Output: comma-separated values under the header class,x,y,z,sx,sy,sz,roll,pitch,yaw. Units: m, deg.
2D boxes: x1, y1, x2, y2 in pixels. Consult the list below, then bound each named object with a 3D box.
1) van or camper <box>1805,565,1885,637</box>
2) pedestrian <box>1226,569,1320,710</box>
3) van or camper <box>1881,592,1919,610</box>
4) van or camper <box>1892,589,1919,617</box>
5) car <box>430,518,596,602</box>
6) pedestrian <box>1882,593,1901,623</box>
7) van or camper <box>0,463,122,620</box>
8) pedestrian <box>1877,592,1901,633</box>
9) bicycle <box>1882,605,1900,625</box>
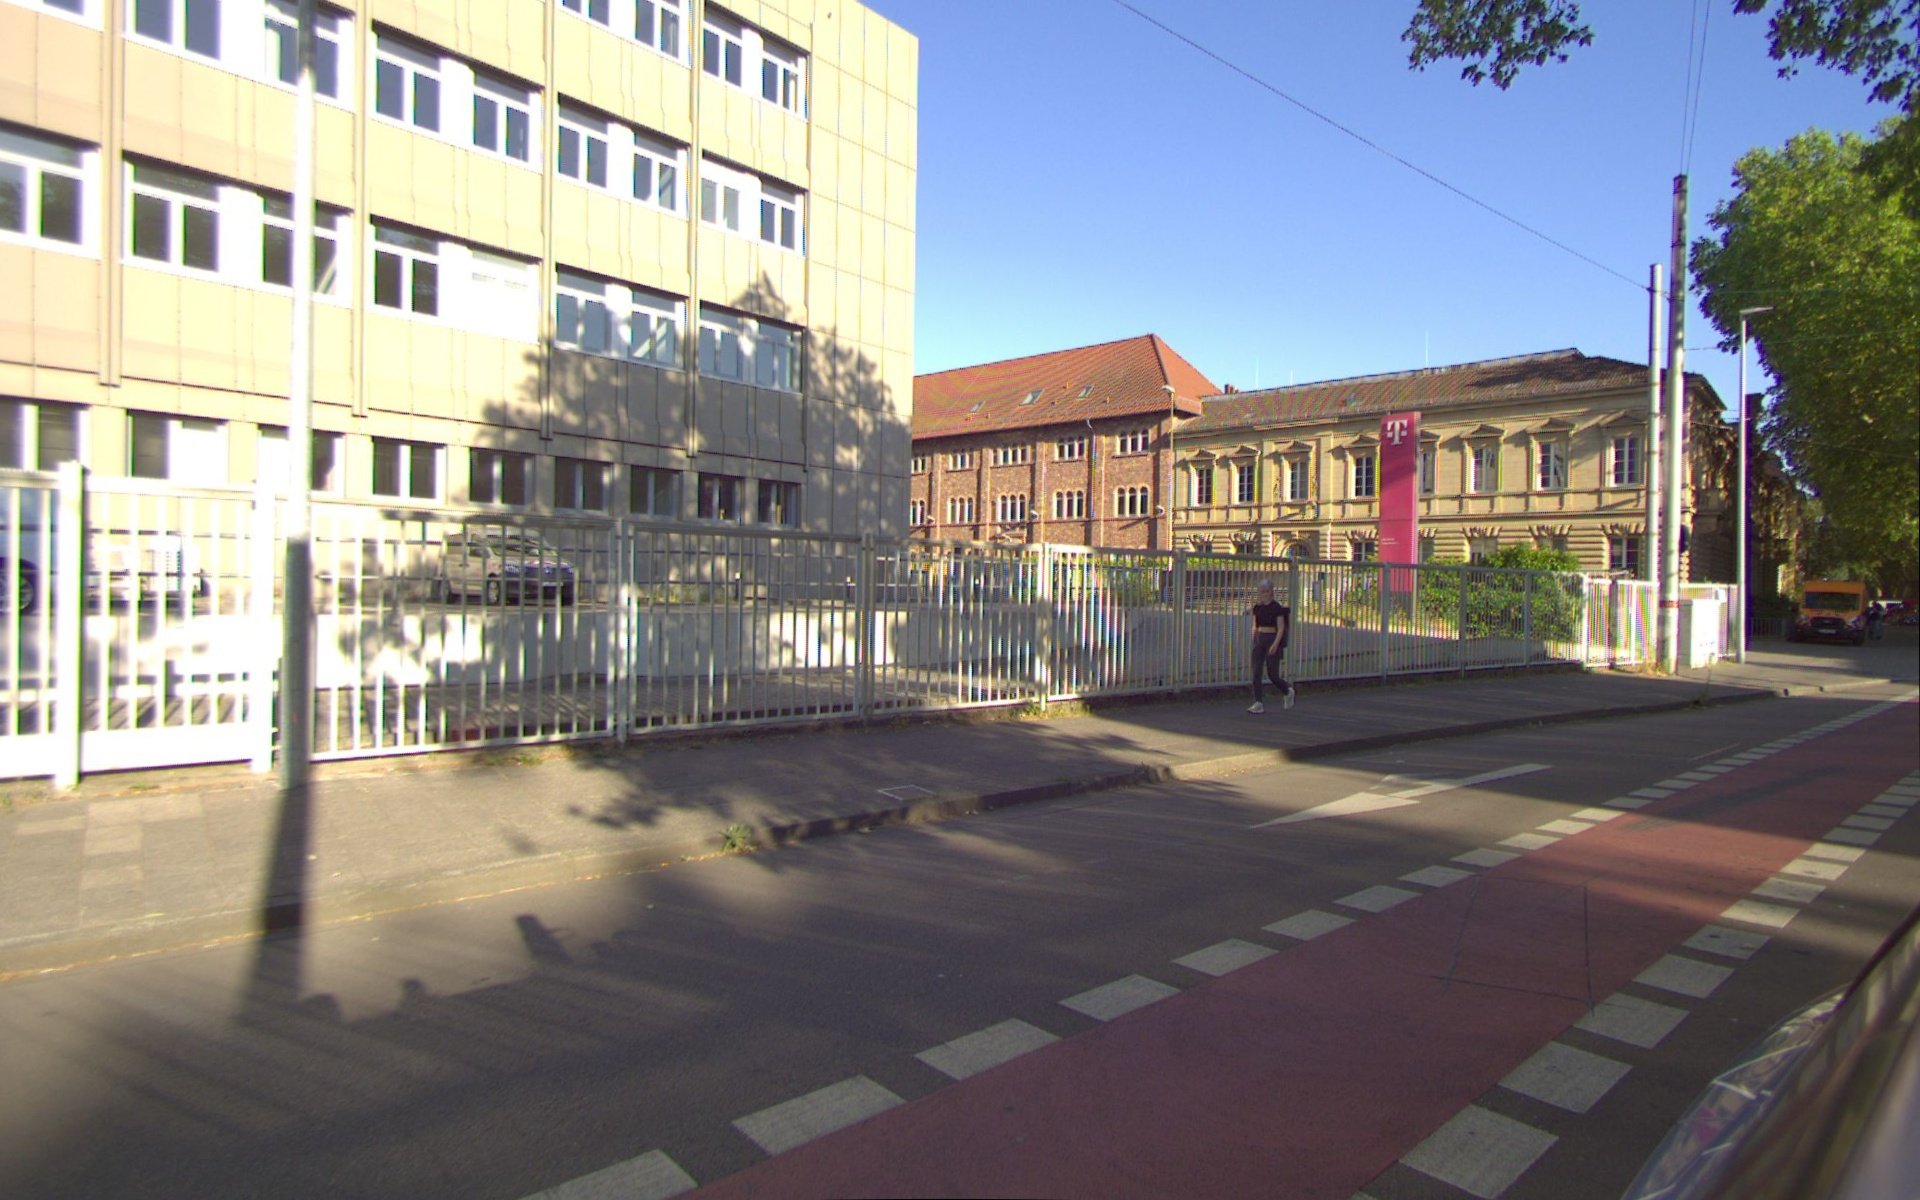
class,x,y,z,sx,sy,sz,roll,pitch,yaw
van or camper,34.634,0.021,39.553,2.036,2.591,5.680,2,1,44
pedestrian,3.949,0.470,12.769,0.913,1.705,0.698,1,1,-37
van or camper,130.957,0.142,139.387,6.084,2.461,2.390,2,1,43
van or camper,91.655,0.330,95.022,5.907,2.528,2.189,2,4,41
car,-10.278,-0.881,23.142,4.250,1.739,1.963,2,1,43
pedestrian,52.548,0.449,57.090,0.670,1.639,1.085,4,3,43
van or camper,-13.454,-0.755,12.211,1.980,1.932,4.924,2,2,42
pedestrian,41.165,0.548,44.854,0.649,1.758,0.994,1,1,37
bicycle,52.539,0.846,57.098,0.675,1.044,1.871,4,3,42
